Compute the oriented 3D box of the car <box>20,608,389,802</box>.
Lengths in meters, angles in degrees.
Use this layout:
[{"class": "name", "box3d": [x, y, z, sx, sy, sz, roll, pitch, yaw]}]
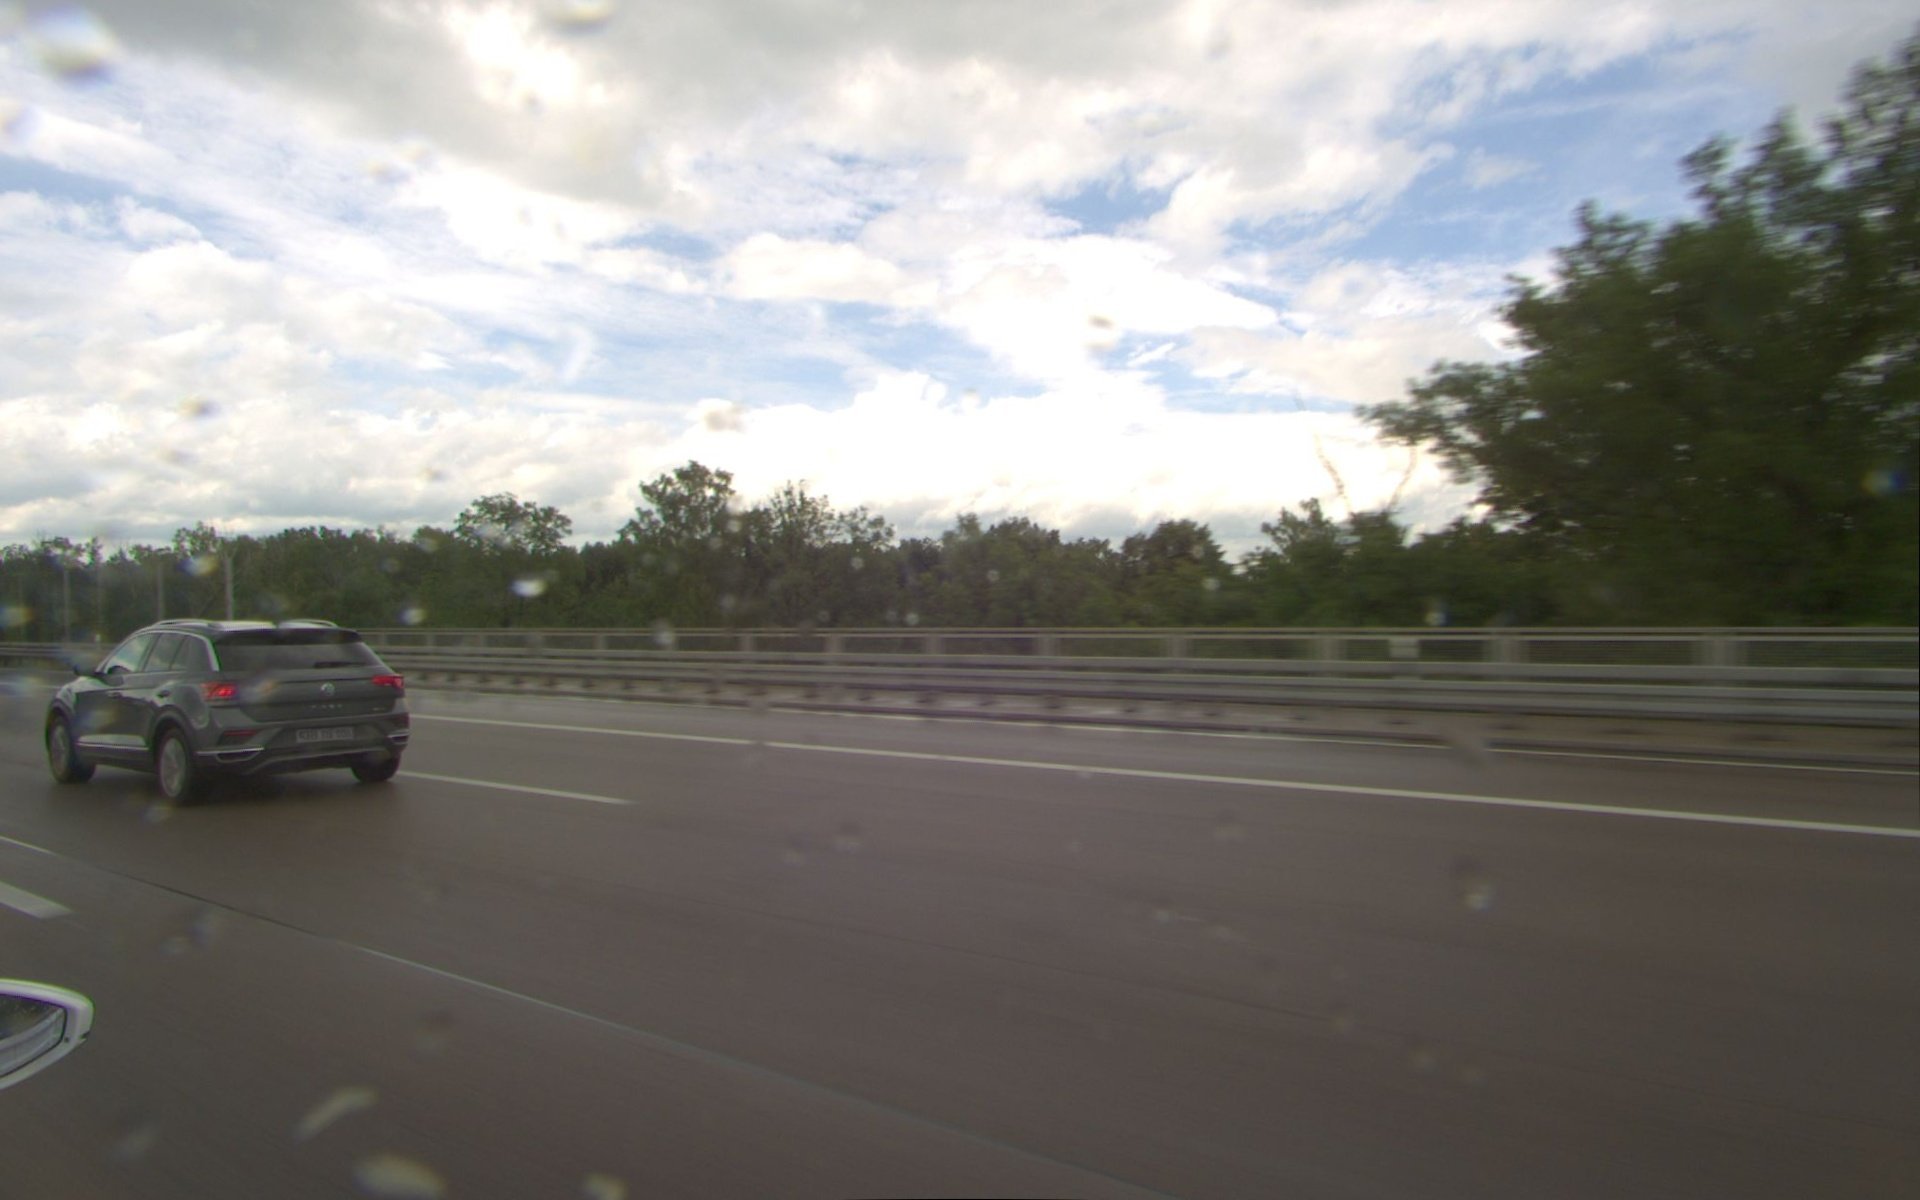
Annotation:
[{"class": "car", "box3d": [-7.560, 0.907, 9.963, 3.669, 1.582, 1.789, -1, -1, 33]}]
